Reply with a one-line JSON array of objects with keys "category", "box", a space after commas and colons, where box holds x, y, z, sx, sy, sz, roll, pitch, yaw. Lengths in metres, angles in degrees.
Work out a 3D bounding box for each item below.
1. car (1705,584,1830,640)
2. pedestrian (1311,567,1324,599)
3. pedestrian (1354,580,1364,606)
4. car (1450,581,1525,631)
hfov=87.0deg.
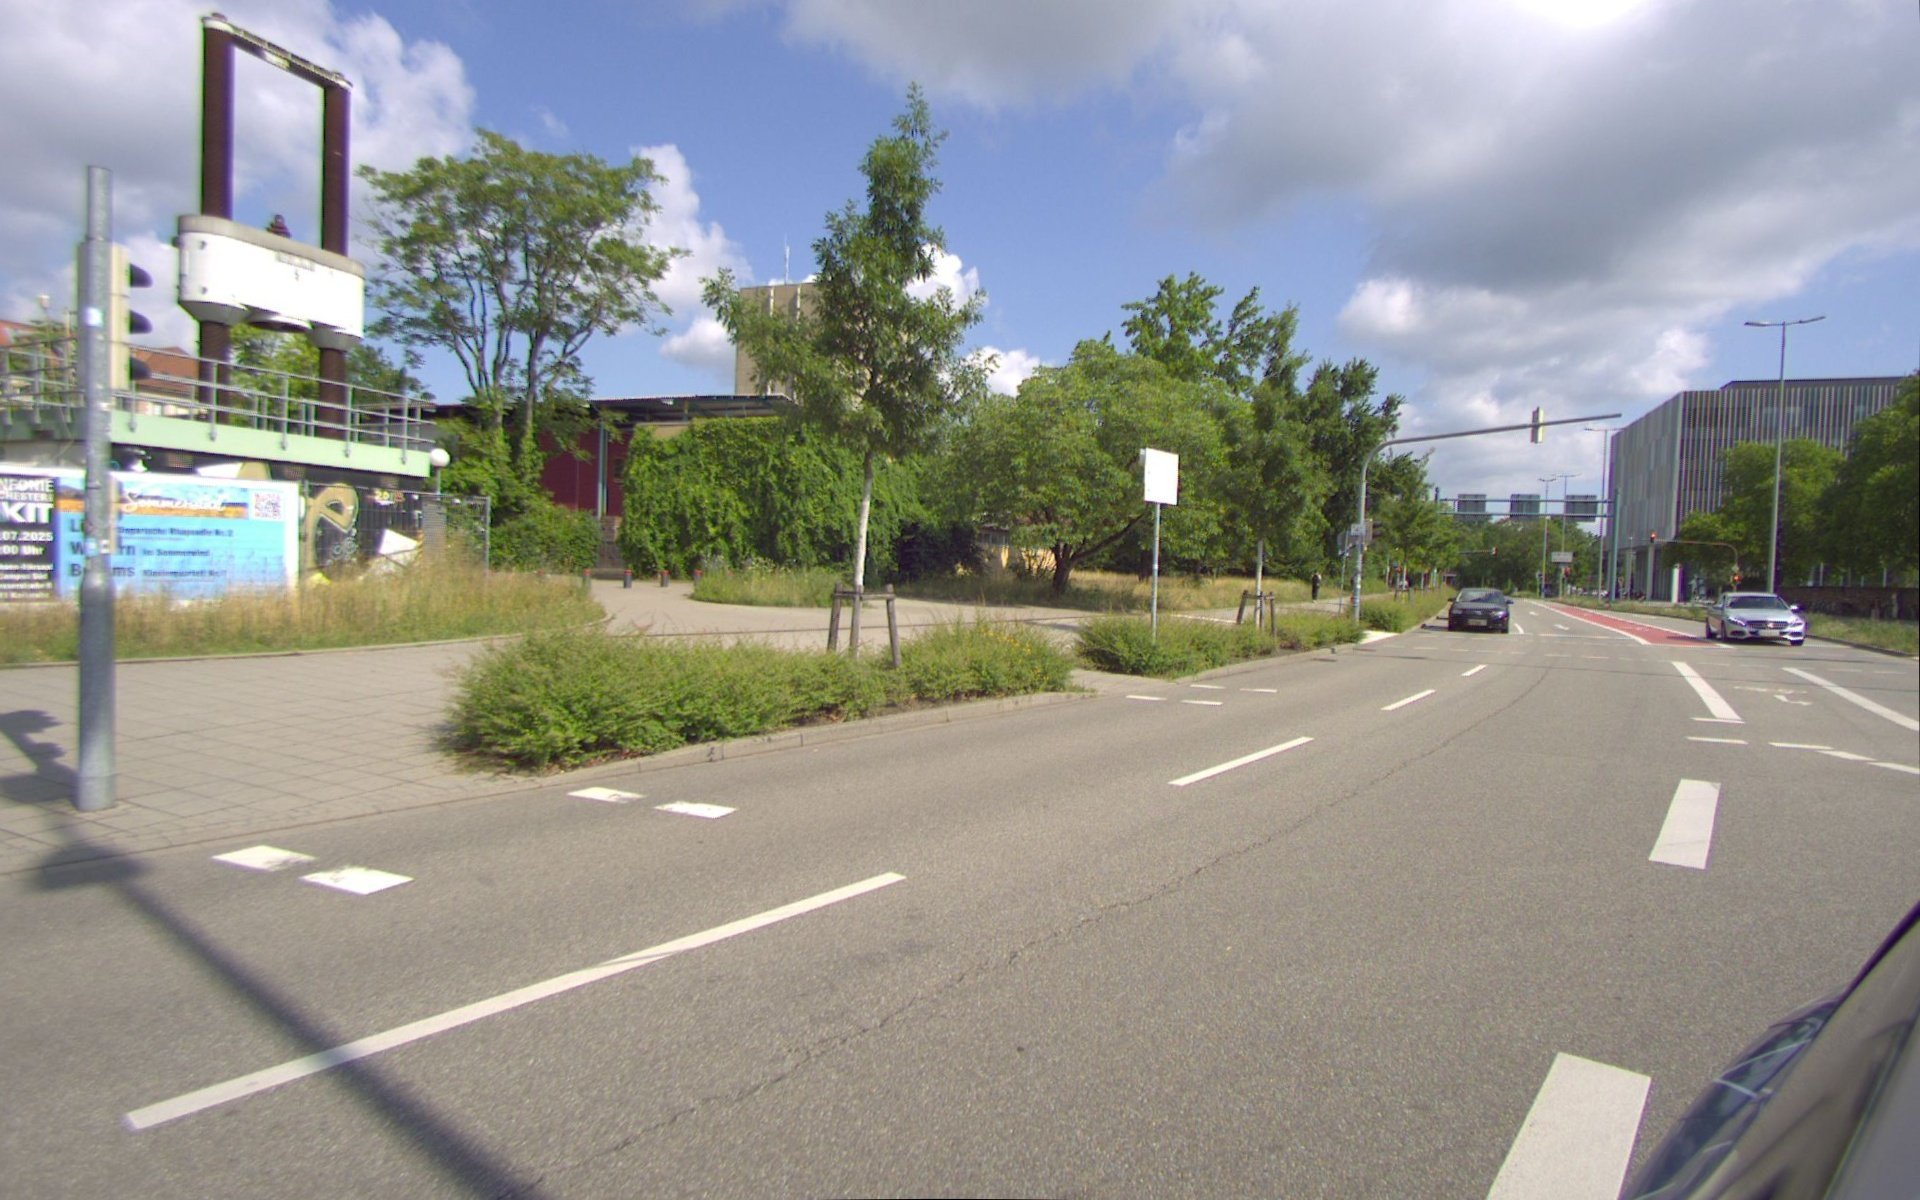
[{"category": "car", "box": [23.451, 0.282, 29.592, 2.044, 1.460, 4.732, 1, 1, 29]}, {"category": "pedestrian", "box": [18.765, -0.896, 53.121, 0.535, 1.628, 0.520, 3, 0, 21]}, {"category": "pedestrian", "box": [27.712, -0.501, 70.330, 0.535, 1.790, 0.520, 3, 0, 21]}, {"category": "car", "box": [17.214, 0.130, 32.998, 1.983, 1.394, 4.119, 4, 3, 29]}]
